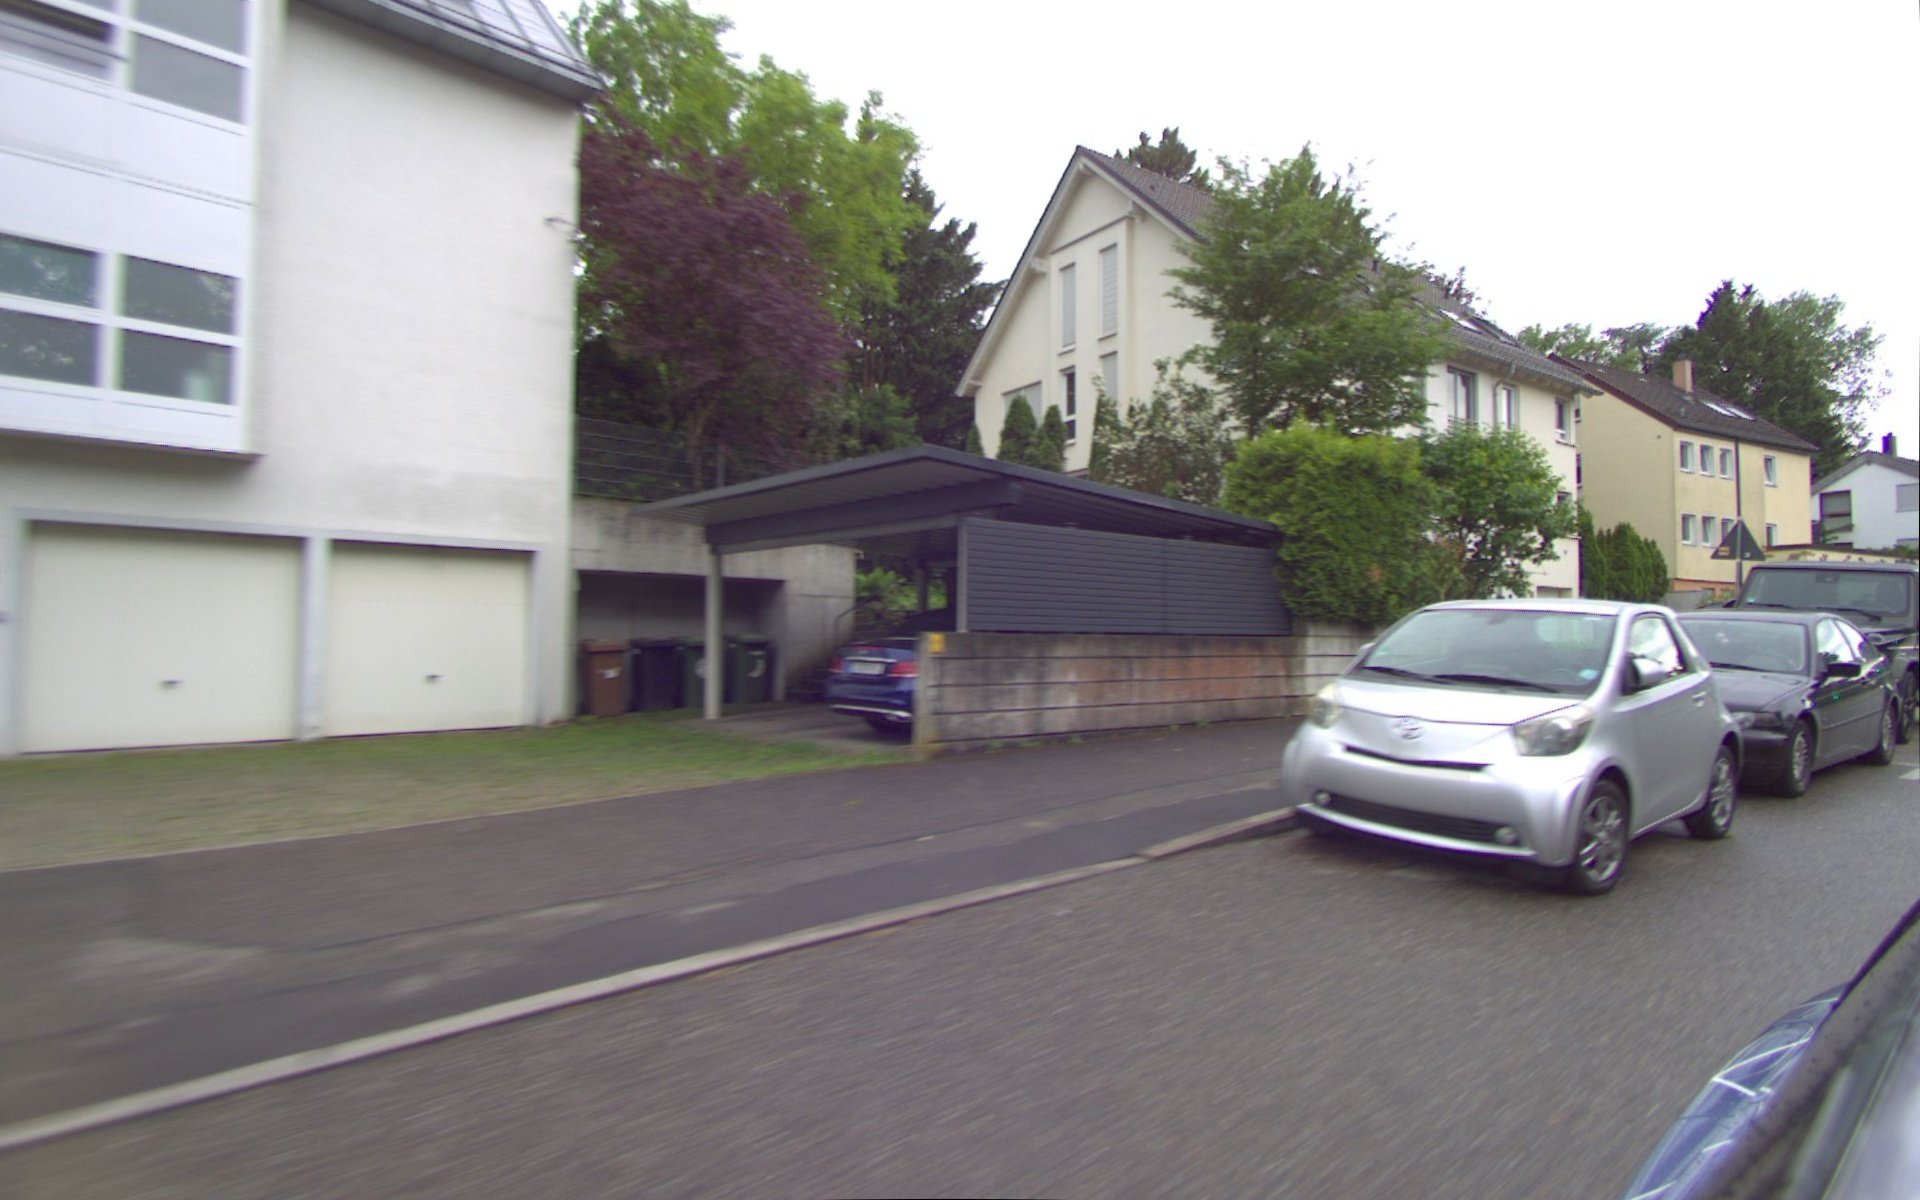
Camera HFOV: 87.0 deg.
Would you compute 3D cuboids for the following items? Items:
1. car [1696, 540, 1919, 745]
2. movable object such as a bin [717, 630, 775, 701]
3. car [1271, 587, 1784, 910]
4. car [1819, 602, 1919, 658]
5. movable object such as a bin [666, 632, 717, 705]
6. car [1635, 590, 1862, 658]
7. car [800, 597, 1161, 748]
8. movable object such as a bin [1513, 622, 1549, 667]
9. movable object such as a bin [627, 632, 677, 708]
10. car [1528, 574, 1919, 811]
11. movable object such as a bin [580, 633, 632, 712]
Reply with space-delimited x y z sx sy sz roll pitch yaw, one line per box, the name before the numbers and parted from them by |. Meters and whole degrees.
car | 10.919 0.400 12.280 4.867 2.039 1.998 0 1 -39
movable object such as a bin | -3.302 0.999 15.632 0.661 1.036 0.643 1 -1 -41
car | 3.643 0.670 6.321 3.324 1.475 1.677 0 0 -39
car | 28.869 0.928 31.733 4.261 1.617 1.936 0 -3 -37
movable object such as a bin | -3.963 0.995 14.949 0.562 1.036 0.505 1 -1 -41
car | 20.895 0.677 27.005 1.954 1.617 4.339 0 -3 -35
car | 0.338 0.713 11.462 3.930 1.415 1.737 0 -2 -41
movable object such as a bin | 12.467 0.967 22.095 0.584 0.953 0.508 1 -1 -37
movable object such as a bin | -4.391 0.990 14.434 0.562 1.036 0.424 1 -1 -41
car | 7.128 0.610 9.033 4.312 1.615 1.938 0 2 -36
movable object such as a bin | -4.884 0.986 13.952 0.562 1.036 0.424 1 -1 -41
